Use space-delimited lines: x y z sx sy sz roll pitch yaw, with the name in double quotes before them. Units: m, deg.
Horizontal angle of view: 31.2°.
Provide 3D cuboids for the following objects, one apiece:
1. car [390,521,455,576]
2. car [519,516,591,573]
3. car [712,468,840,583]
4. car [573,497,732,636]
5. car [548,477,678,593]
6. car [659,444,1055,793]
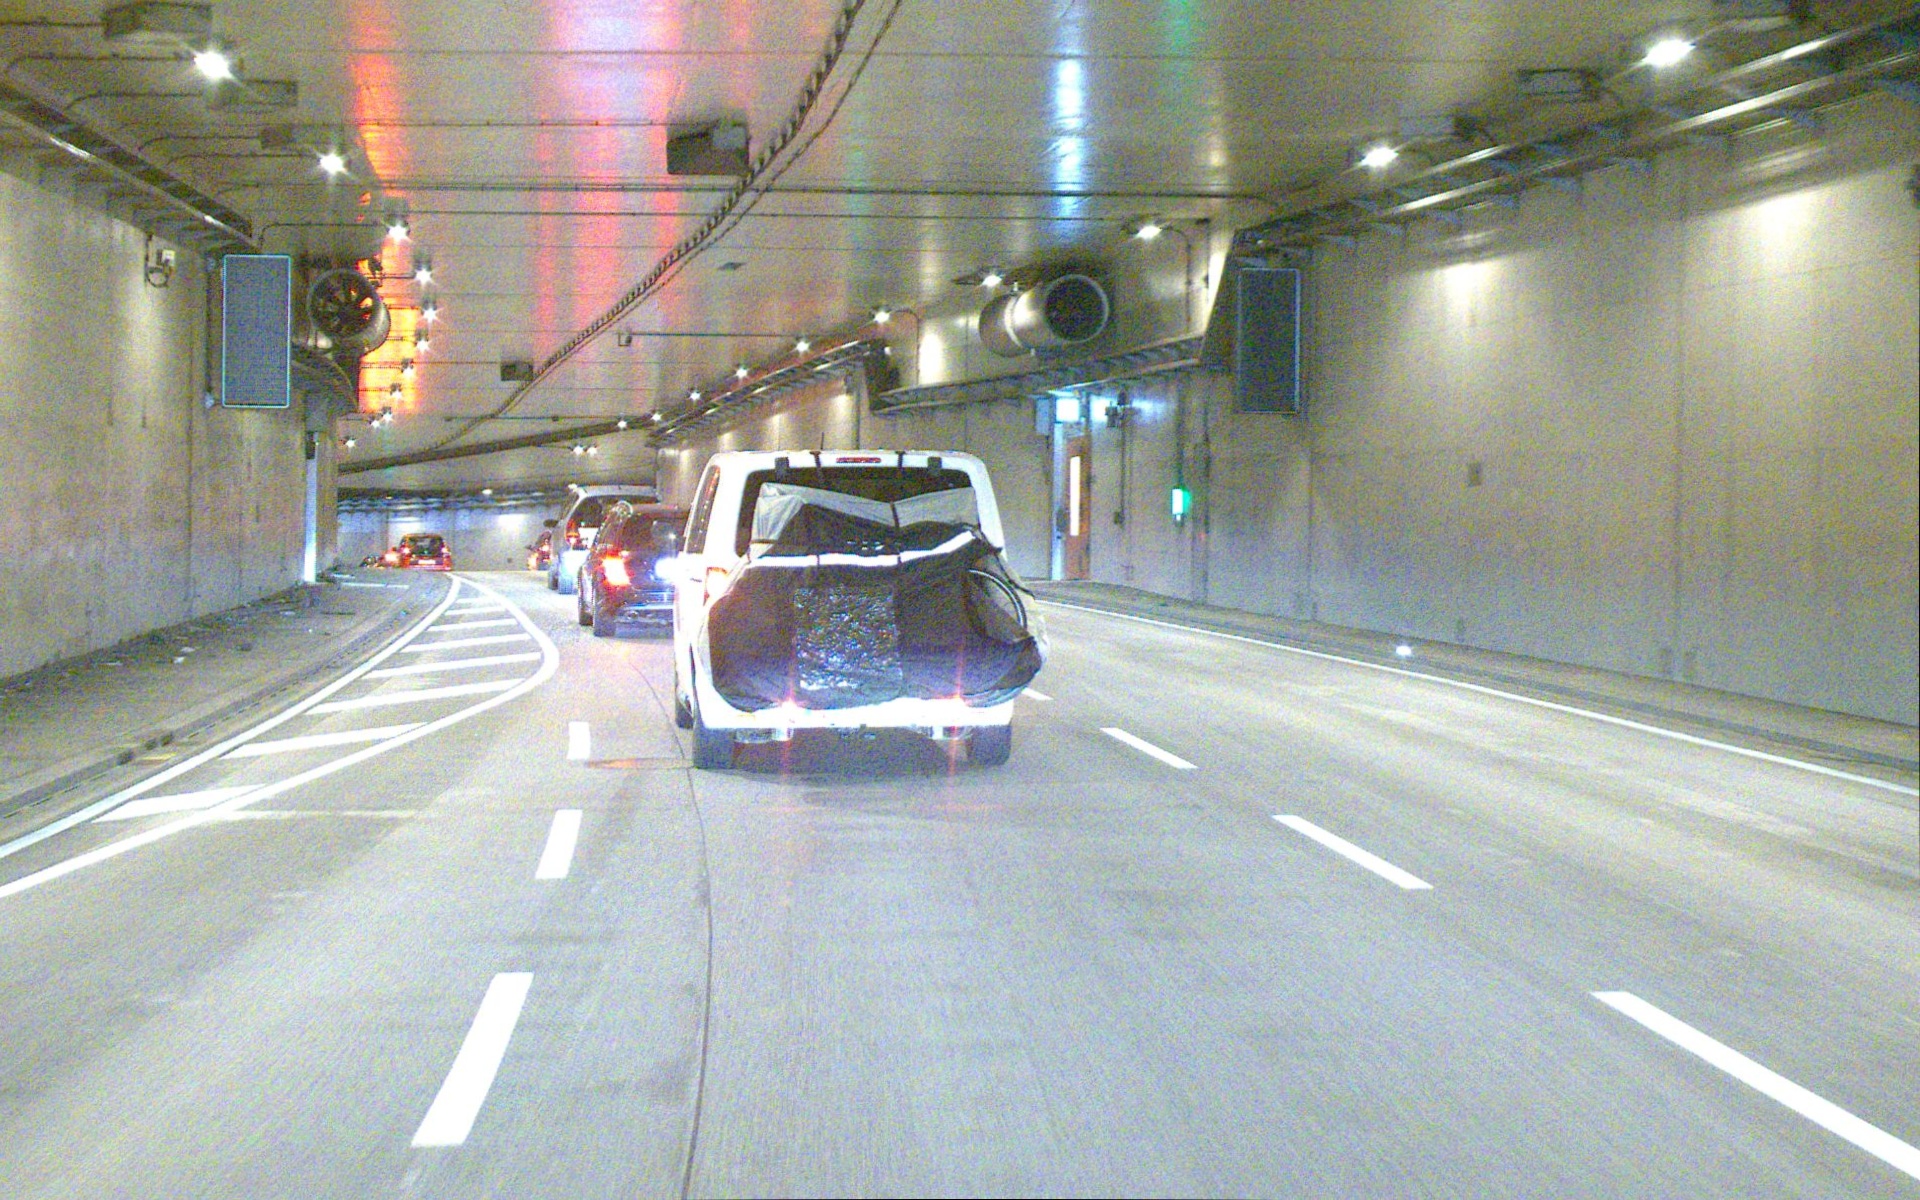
"car" -17.090 -1.629 109.207 1.822 1.625 3.844 2 0 -12
"car" -12.331 -1.670 104.550 1.822 1.625 3.844 2 0 -12
"car" -3.166 -1.232 58.551 1.872 1.755 4.001 2 -1 -6
"car" -3.302 -0.389 36.776 1.602 1.390 3.278 1 2 -6
"car" -5.106 -0.928 50.339 1.602 1.588 3.356 1 0 -10
"car" -0.771 0.003 20.956 1.993 1.841 5.303 0 2 -6
